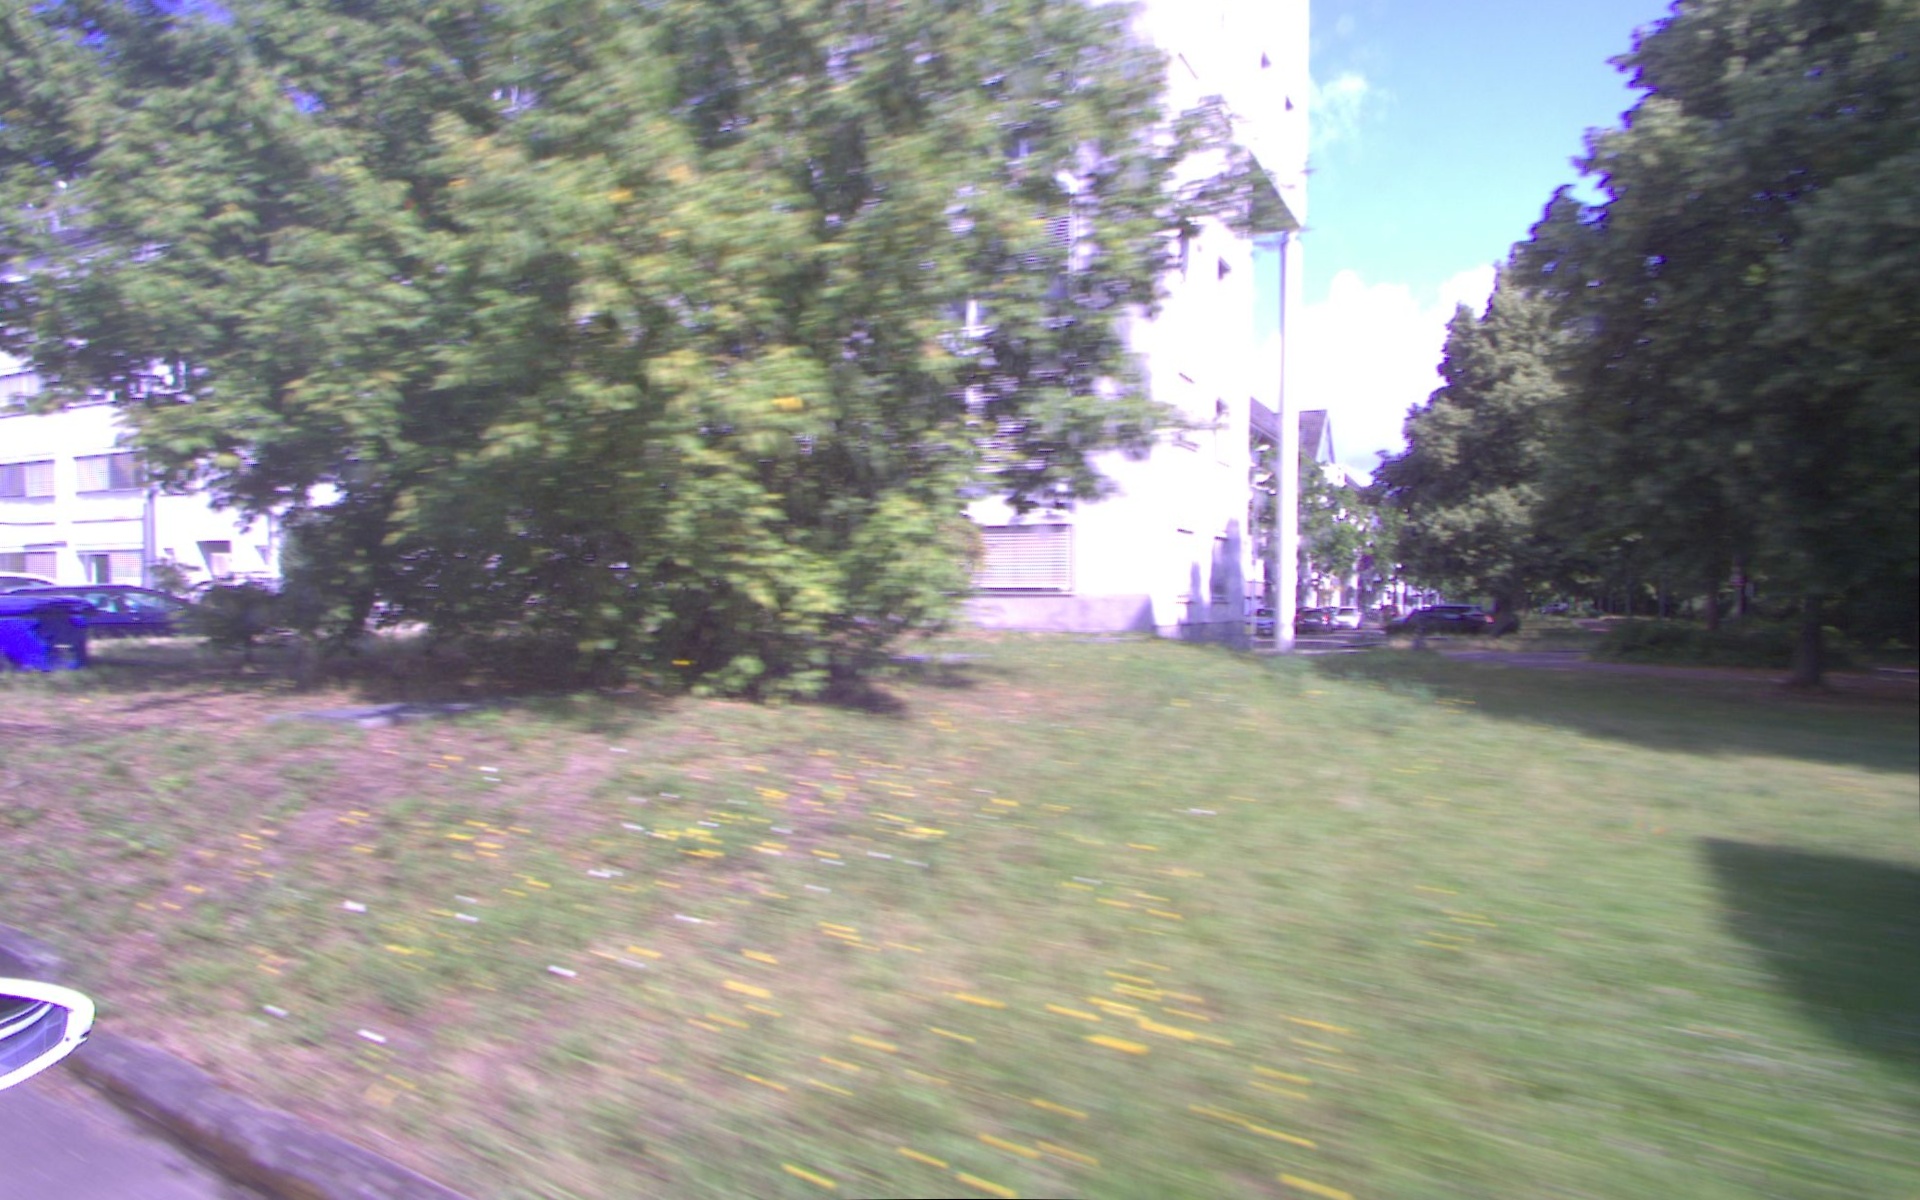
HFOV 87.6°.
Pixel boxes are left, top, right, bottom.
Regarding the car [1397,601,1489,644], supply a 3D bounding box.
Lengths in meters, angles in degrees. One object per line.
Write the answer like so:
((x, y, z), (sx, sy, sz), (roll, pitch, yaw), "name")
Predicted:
((23.992, 1.072, 49.771), (3.942, 2.041, 1.989), (1, 1, 32), "car")

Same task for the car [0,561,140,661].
((-17.720, 0.219, 18.135), (1.918, 1.767, 3.990), (-1, -3, 25), "car")

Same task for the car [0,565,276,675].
((-14.751, 0.469, 17.652), (1.727, 1.625, 4.118), (-2, -5, 25), "car")

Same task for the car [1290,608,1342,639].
((20.235, 1.350, 56.754), (1.820, 1.444, 4.165), (-3, -6, 33), "car")

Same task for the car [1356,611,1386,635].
((37.056, 2.047, 90.243), (1.970, 2.040, 3.981), (1, 1, 31), "car")

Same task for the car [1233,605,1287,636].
((15.776, 1.088, 52.586), (1.792, 1.459, 3.821), (-1, -4, 32), "car")

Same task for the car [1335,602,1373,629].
((25.805, 0.984, 65.580), (1.820, 1.706, 3.983), (1, 1, 28), "car")
